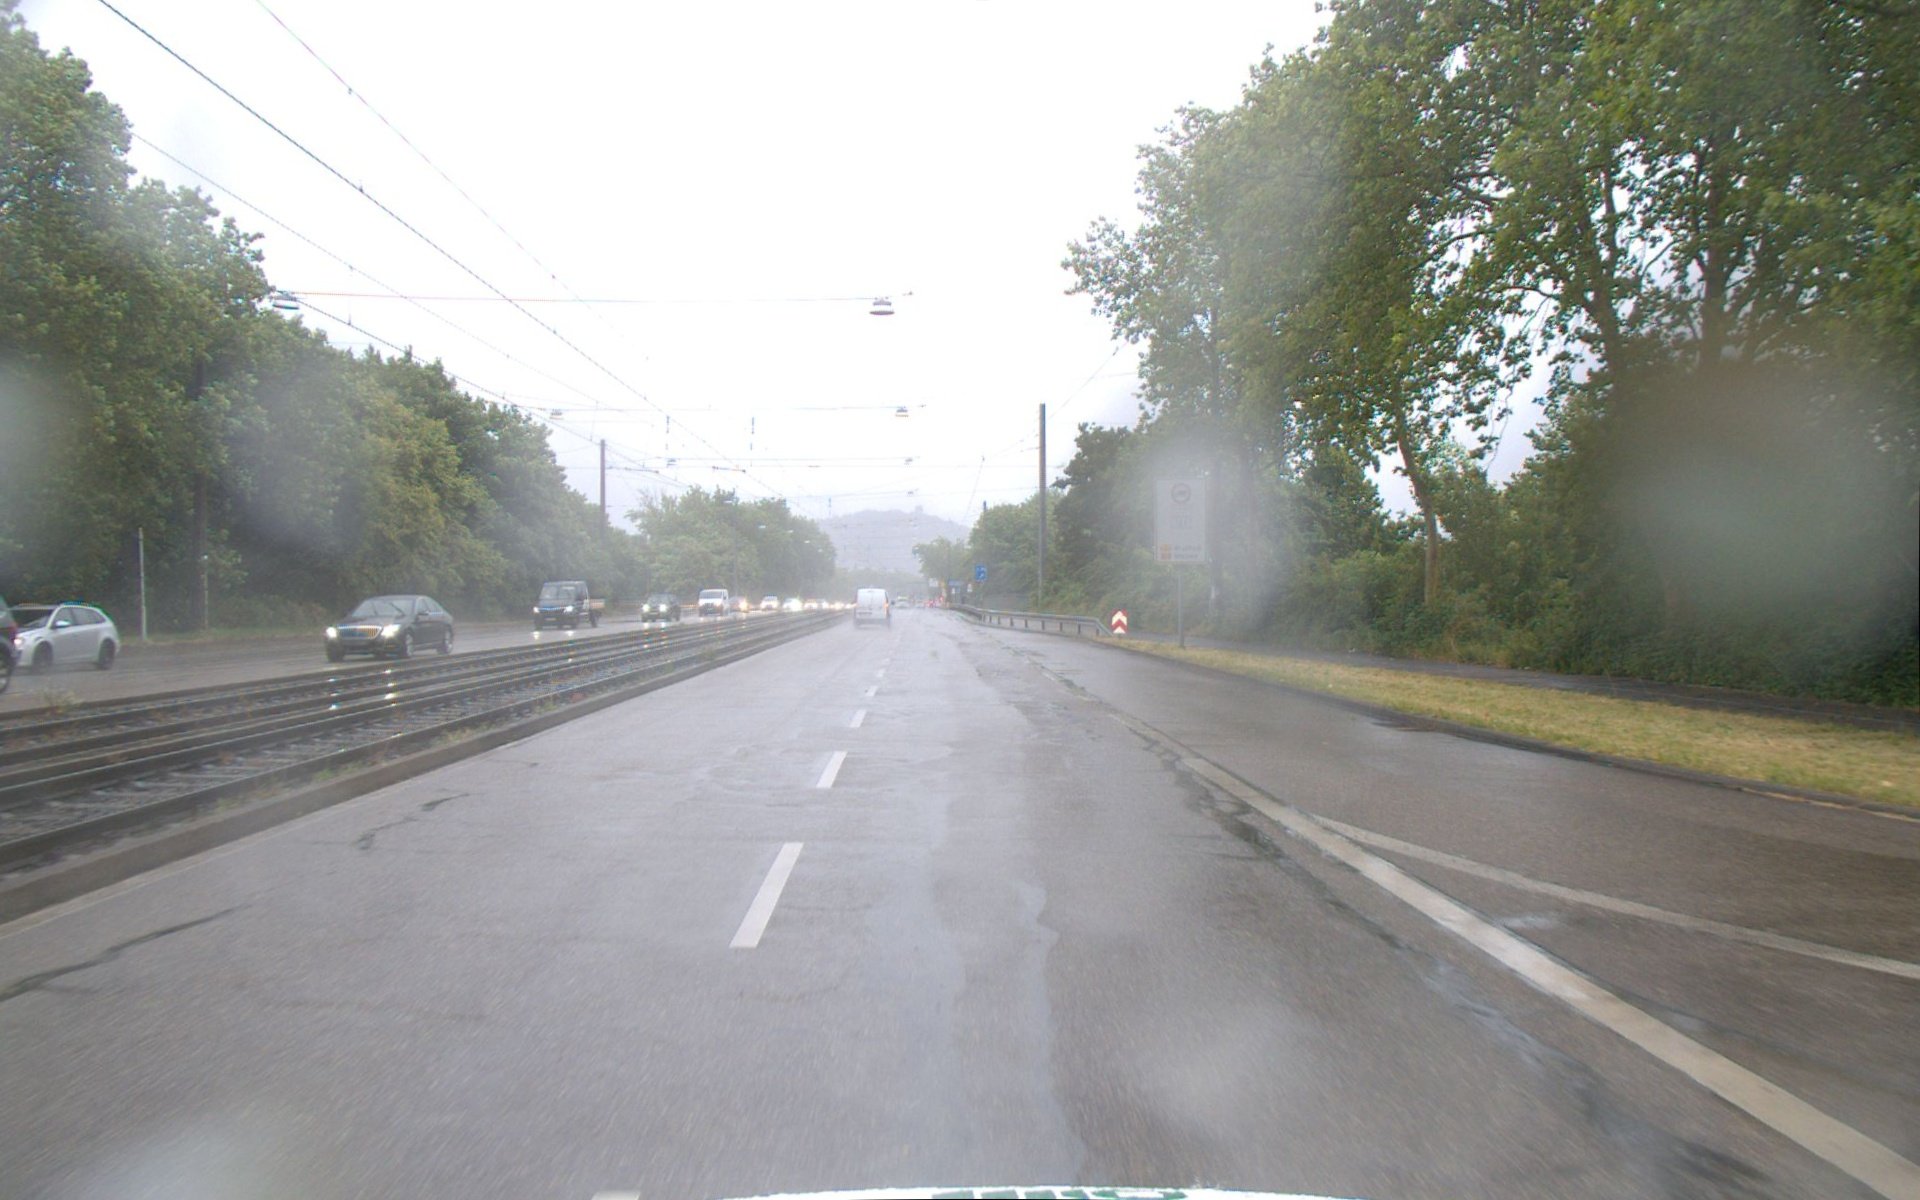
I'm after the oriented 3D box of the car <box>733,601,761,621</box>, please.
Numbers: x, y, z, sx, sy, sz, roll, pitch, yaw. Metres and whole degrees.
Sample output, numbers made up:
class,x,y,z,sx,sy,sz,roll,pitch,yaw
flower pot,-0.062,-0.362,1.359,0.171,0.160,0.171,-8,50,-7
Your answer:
class,x,y,z,sx,sy,sz,roll,pitch,yaw
car,-18.574,0.956,144.230,1.654,1.545,4.612,1,1,1

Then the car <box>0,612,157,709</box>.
class,x,y,z,sx,sy,sz,roll,pitch,yaw
car,-19.225,1.221,35.323,1.783,1.735,5.019,1,1,-2

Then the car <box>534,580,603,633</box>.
class,x,y,z,sx,sy,sz,roll,pitch,yaw
car,-19.458,0.271,82.525,2.057,2.383,6.987,1,1,-3

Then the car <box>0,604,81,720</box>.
class,x,y,z,sx,sy,sz,roll,pitch,yaw
car,-15.878,1.005,25.252,1.782,1.735,6.103,1,1,-2

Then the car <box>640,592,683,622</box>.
class,x,y,z,sx,sy,sz,roll,pitch,yaw
car,-18.569,0.397,102.924,1.803,1.746,4.164,1,1,1

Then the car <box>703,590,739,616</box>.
class,x,y,z,sx,sy,sz,roll,pitch,yaw
car,-18.294,0.207,126.606,1.998,1.806,4.986,1,1,0

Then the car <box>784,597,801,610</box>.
class,x,y,z,sx,sy,sz,roll,pitch,yaw
car,-20.431,0.429,201.711,1.761,1.478,4.194,1,1,-1

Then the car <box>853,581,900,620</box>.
class,x,y,z,sx,sy,sz,roll,pitch,yaw
car,-3.868,-0.008,76.933,1.948,1.713,3.740,1,1,0

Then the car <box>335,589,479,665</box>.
class,x,y,z,sx,sy,sz,roll,pitch,yaw
car,-13.447,0.599,40.585,1.740,1.612,5.680,1,1,-2

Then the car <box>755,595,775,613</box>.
class,x,y,z,sx,sy,sz,roll,pitch,yaw
car,-20.445,0.398,173.920,1.719,1.741,3.999,1,1,-2

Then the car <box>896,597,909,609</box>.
class,x,y,z,sx,sy,sz,roll,pitch,yaw
car,-7.739,0.377,222.907,1.708,1.534,3.699,1,1,-2
